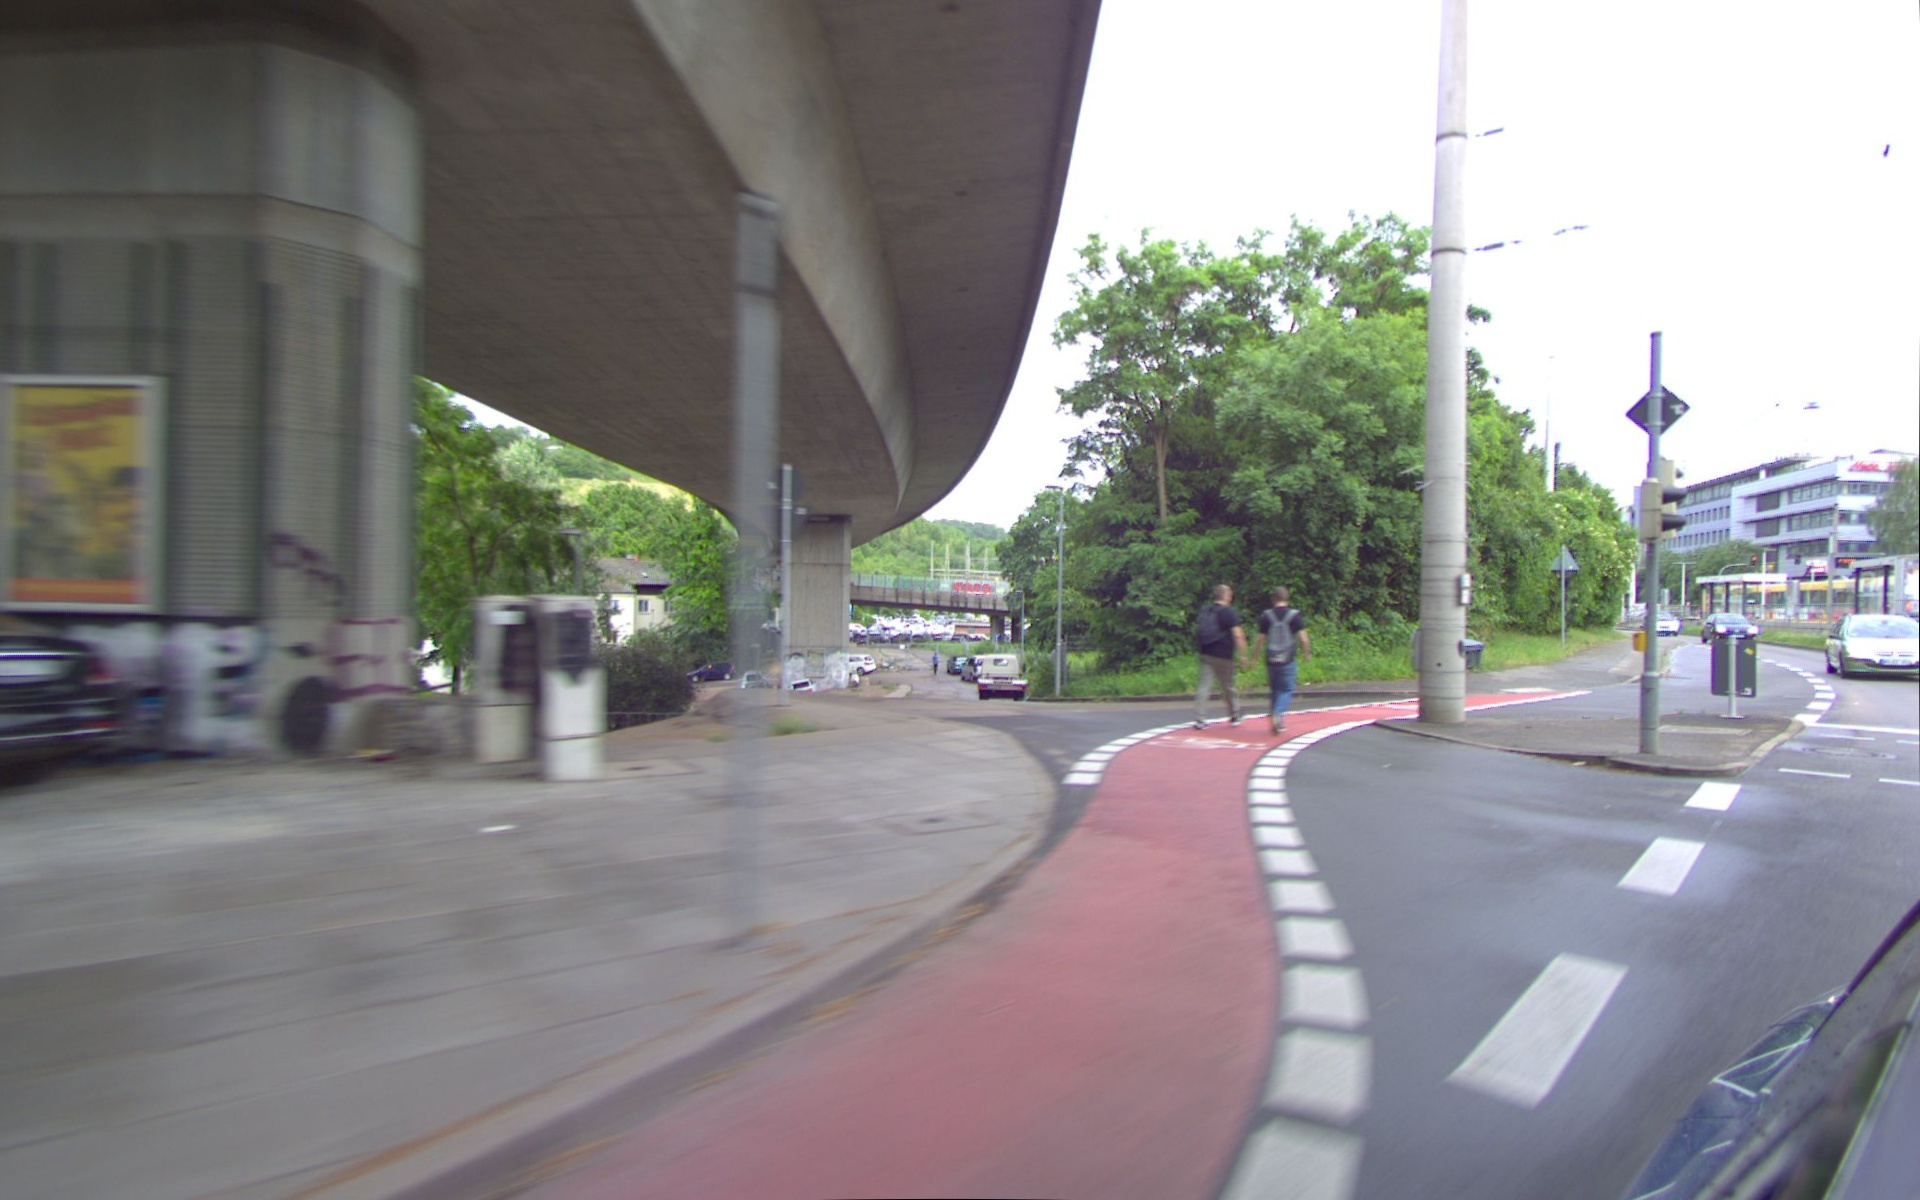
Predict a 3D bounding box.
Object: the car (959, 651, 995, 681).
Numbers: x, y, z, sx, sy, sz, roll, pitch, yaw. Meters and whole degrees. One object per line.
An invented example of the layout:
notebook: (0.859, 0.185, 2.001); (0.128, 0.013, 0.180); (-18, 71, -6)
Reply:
car: (1.190, 4.658, 71.636); (1.916, 1.880, 3.897); (0, 0, -8)

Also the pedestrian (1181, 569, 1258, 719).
pedestrian: (3.325, 0.541, 12.963); (0.596, 1.845, 0.897); (-2, -1, 38)

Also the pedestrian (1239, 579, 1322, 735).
pedestrian: (3.941, 0.669, 12.418); (0.625, 1.831, 0.823); (-3, -1, 43)

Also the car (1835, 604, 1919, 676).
car: (22.257, 0.899, 24.149); (1.772, 1.520, 3.947); (2, 1, 37)

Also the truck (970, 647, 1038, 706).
truck: (1.765, 3.141, 42.514); (2.657, 2.039, 5.761); (0, 0, 1)

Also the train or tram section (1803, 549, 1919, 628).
train or tram section: (53.311, -0.690, 57.777); (2.846, 4.004, 19.168); (-2, 0, 24)

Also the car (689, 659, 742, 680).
car: (-19.533, 5.556, 80.828); (3.916, 1.483, 1.776); (0, 0, -18)

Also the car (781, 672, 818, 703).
car: (-10.240, 5.571, 64.858); (1.960, 1.629, 4.293); (0, 0, -4)

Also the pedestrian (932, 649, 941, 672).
pedestrian: (-1.825, 4.654, 78.144); (0.540, 1.753, 0.516); (0, -1, -19)

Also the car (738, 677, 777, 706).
car: (-12.989, 5.837, 65.072); (1.960, 1.469, 4.293); (0, 0, -4)

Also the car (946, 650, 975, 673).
car: (0.037, 4.735, 78.685); (1.801, 1.553, 3.778); (0, 0, -7)

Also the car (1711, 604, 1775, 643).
car: (37.698, 1.088, 48.839); (1.767, 1.519, 3.960); (4, 4, 29)

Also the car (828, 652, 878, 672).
car: (-8.483, 4.926, 80.583); (3.921, 1.483, 1.774); (0, 0, -3)

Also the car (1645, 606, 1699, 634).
car: (44.934, 1.249, 63.945); (1.978, 1.592, 3.967); (-2, 0, 24)

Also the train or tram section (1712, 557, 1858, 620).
train or tram section: (60.766, -0.826, 75.382); (2.844, 4.023, 19.185); (-2, 0, 22)

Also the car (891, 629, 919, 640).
car: (-7.953, 5.010, 145.569); (3.708, 1.512, 1.768); (0, 0, 16)

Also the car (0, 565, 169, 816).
car: (-8.039, 0.637, 6.886); (3.928, 1.592, 1.903); (-2, -1, 4)

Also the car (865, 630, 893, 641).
car: (-11.807, 5.144, 147.928); (3.708, 1.512, 1.768); (0, 0, 16)
